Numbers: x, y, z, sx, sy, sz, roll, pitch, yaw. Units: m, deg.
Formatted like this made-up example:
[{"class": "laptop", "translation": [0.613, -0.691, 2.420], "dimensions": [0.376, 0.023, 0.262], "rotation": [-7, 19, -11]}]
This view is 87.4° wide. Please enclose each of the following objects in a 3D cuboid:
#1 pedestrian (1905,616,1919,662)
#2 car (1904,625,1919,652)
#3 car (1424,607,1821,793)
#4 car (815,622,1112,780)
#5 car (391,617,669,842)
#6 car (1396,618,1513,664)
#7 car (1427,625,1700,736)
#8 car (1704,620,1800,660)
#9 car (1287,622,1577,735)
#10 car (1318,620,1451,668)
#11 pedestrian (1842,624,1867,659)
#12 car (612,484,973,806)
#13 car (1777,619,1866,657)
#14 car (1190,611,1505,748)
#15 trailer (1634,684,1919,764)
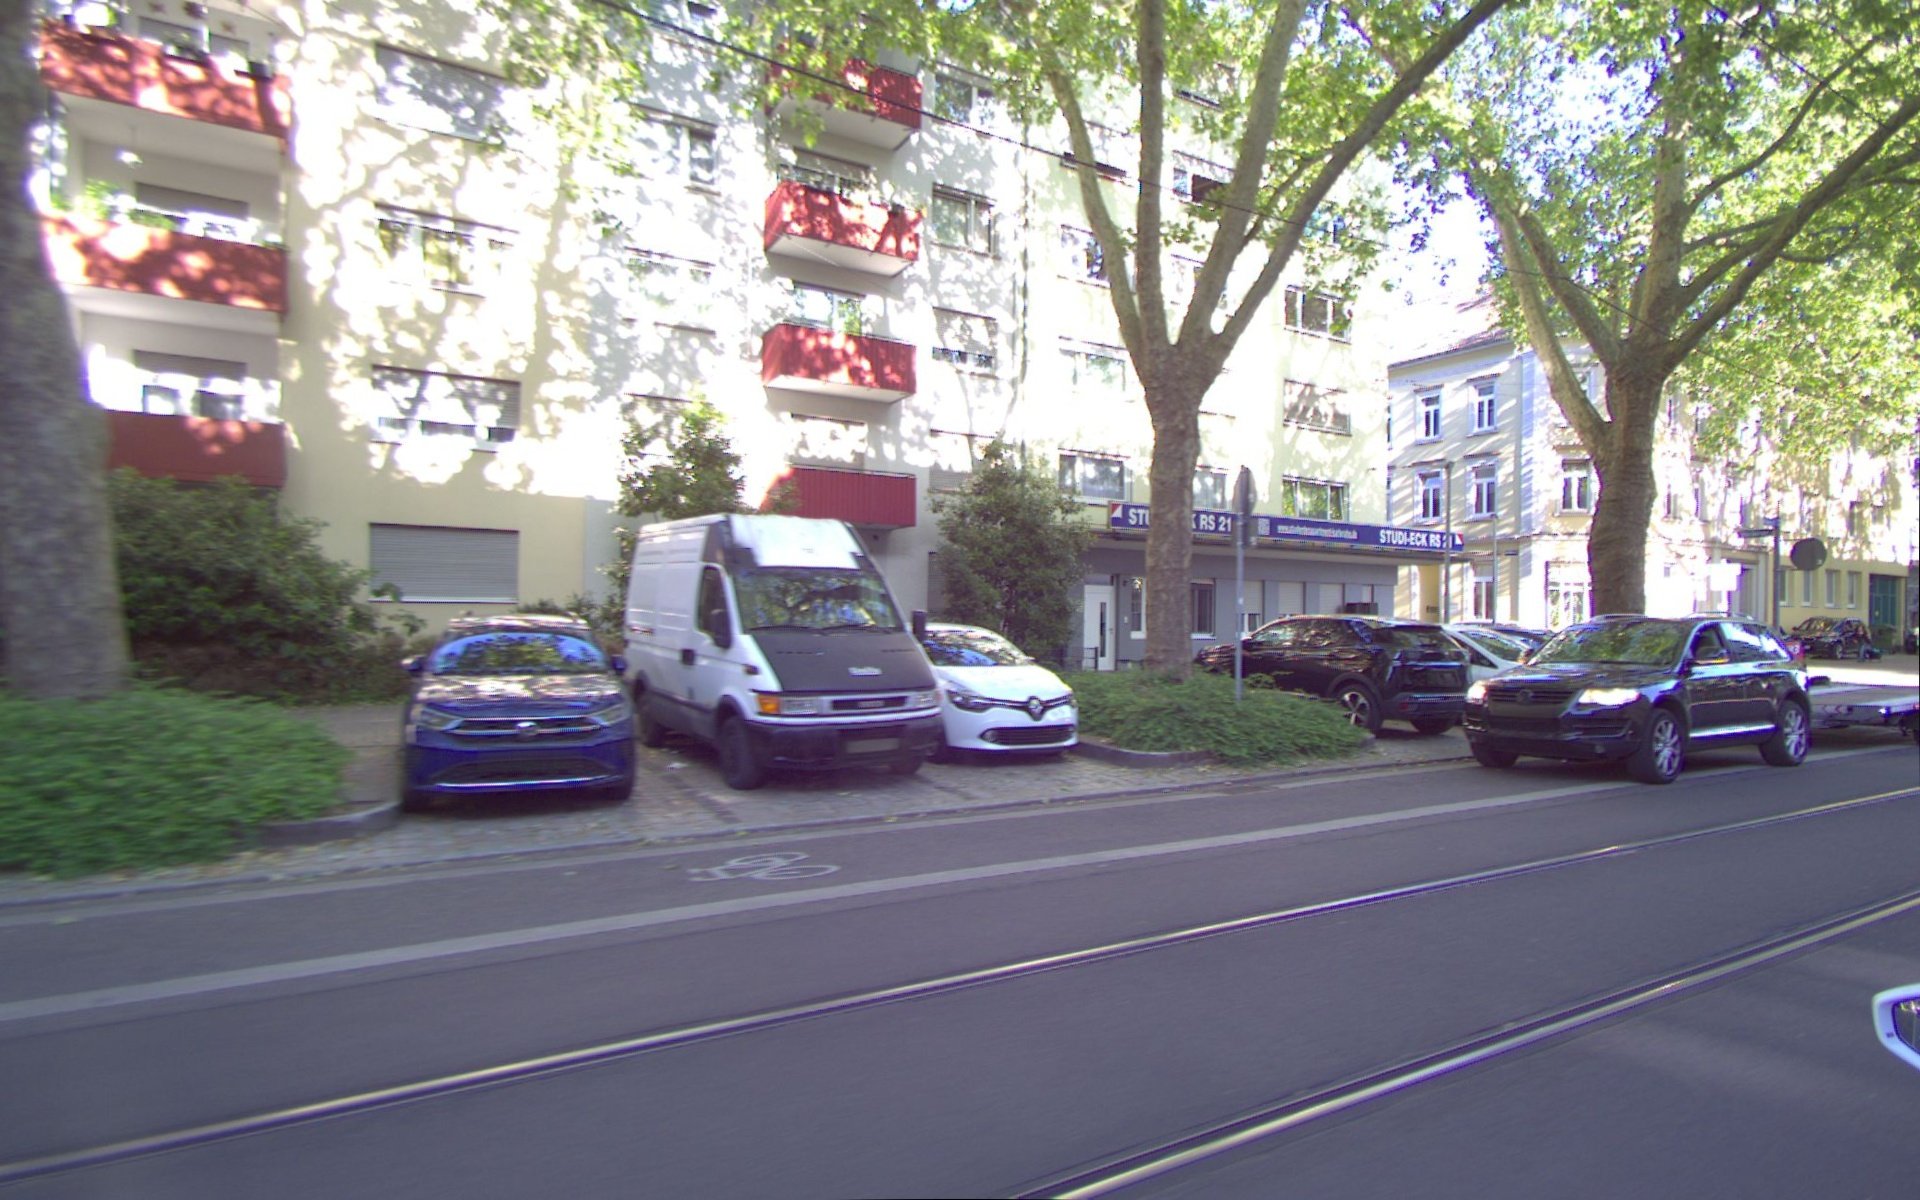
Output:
[{"class": "pedestrian", "translation": [34.863, 1.420, 36.376], "dimensions": [0.638, 1.654, 0.841], "rotation": [1, -1, -35]}, {"class": "car", "translation": [48.534, 1.899, 49.684], "dimensions": [3.783, 1.293, 1.687], "rotation": [1, -1, -30]}, {"class": "car", "translation": [7.506, 0.996, 11.304], "dimensions": [4.432, 1.722, 1.984], "rotation": [1, -2, -31]}, {"class": "car", "translation": [-0.132, 1.034, 11.921], "dimensions": [1.839, 1.498, 3.835], "rotation": [1, -1, -31]}, {"class": "car", "translation": [-4.023, 0.927, 9.064], "dimensions": [1.849, 1.485, 4.002], "rotation": [1, -1, -29]}, {"class": "car", "translation": [19.233, 1.564, 39.208], "dimensions": [1.975, 1.606, 3.632], "rotation": [-2, 1, -28]}, {"class": "car", "translation": [9.711, 1.216, 16.380], "dimensions": [1.768, 1.551, 3.411], "rotation": [1, -1, -32]}, {"class": "car", "translation": [31.657, 1.580, 40.114], "dimensions": [3.952, 1.483, 1.674], "rotation": [1, -1, -30]}, {"class": "car", "translation": [7.470, 1.153, 16.274], "dimensions": [1.751, 1.542, 3.967], "rotation": [1, -1, -31]}, {"class": "car", "translation": [14.771, 1.479, 35.132], "dimensions": [1.802, 1.555, 3.964], "rotation": [1, -1, -33]}, {"class": "pedestrian", "translation": [36.780, 1.694, 41.302], "dimensions": [0.641, 1.421, 0.550], "rotation": [1, -1, -26]}, {"class": "car", "translation": [-2.067, 0.399, 10.778], "dimensions": [2.060, 2.601, 4.915], "rotation": [1, -1, -33]}, {"class": "car", "translation": [37.269, 1.616, 43.451], "dimensions": [3.952, 1.537, 1.674], "rotation": [1, 0, -30]}, {"class": "car", "translation": [5.423, 1.018, 14.551], "dimensions": [1.872, 1.669, 3.967], "rotation": [1, -1, -31]}, {"class": "trailer", "translation": [12.164, 1.625, 13.961], "dimensions": [6.325, 0.640, 2.150], "rotation": [1, -2, -31]}]
